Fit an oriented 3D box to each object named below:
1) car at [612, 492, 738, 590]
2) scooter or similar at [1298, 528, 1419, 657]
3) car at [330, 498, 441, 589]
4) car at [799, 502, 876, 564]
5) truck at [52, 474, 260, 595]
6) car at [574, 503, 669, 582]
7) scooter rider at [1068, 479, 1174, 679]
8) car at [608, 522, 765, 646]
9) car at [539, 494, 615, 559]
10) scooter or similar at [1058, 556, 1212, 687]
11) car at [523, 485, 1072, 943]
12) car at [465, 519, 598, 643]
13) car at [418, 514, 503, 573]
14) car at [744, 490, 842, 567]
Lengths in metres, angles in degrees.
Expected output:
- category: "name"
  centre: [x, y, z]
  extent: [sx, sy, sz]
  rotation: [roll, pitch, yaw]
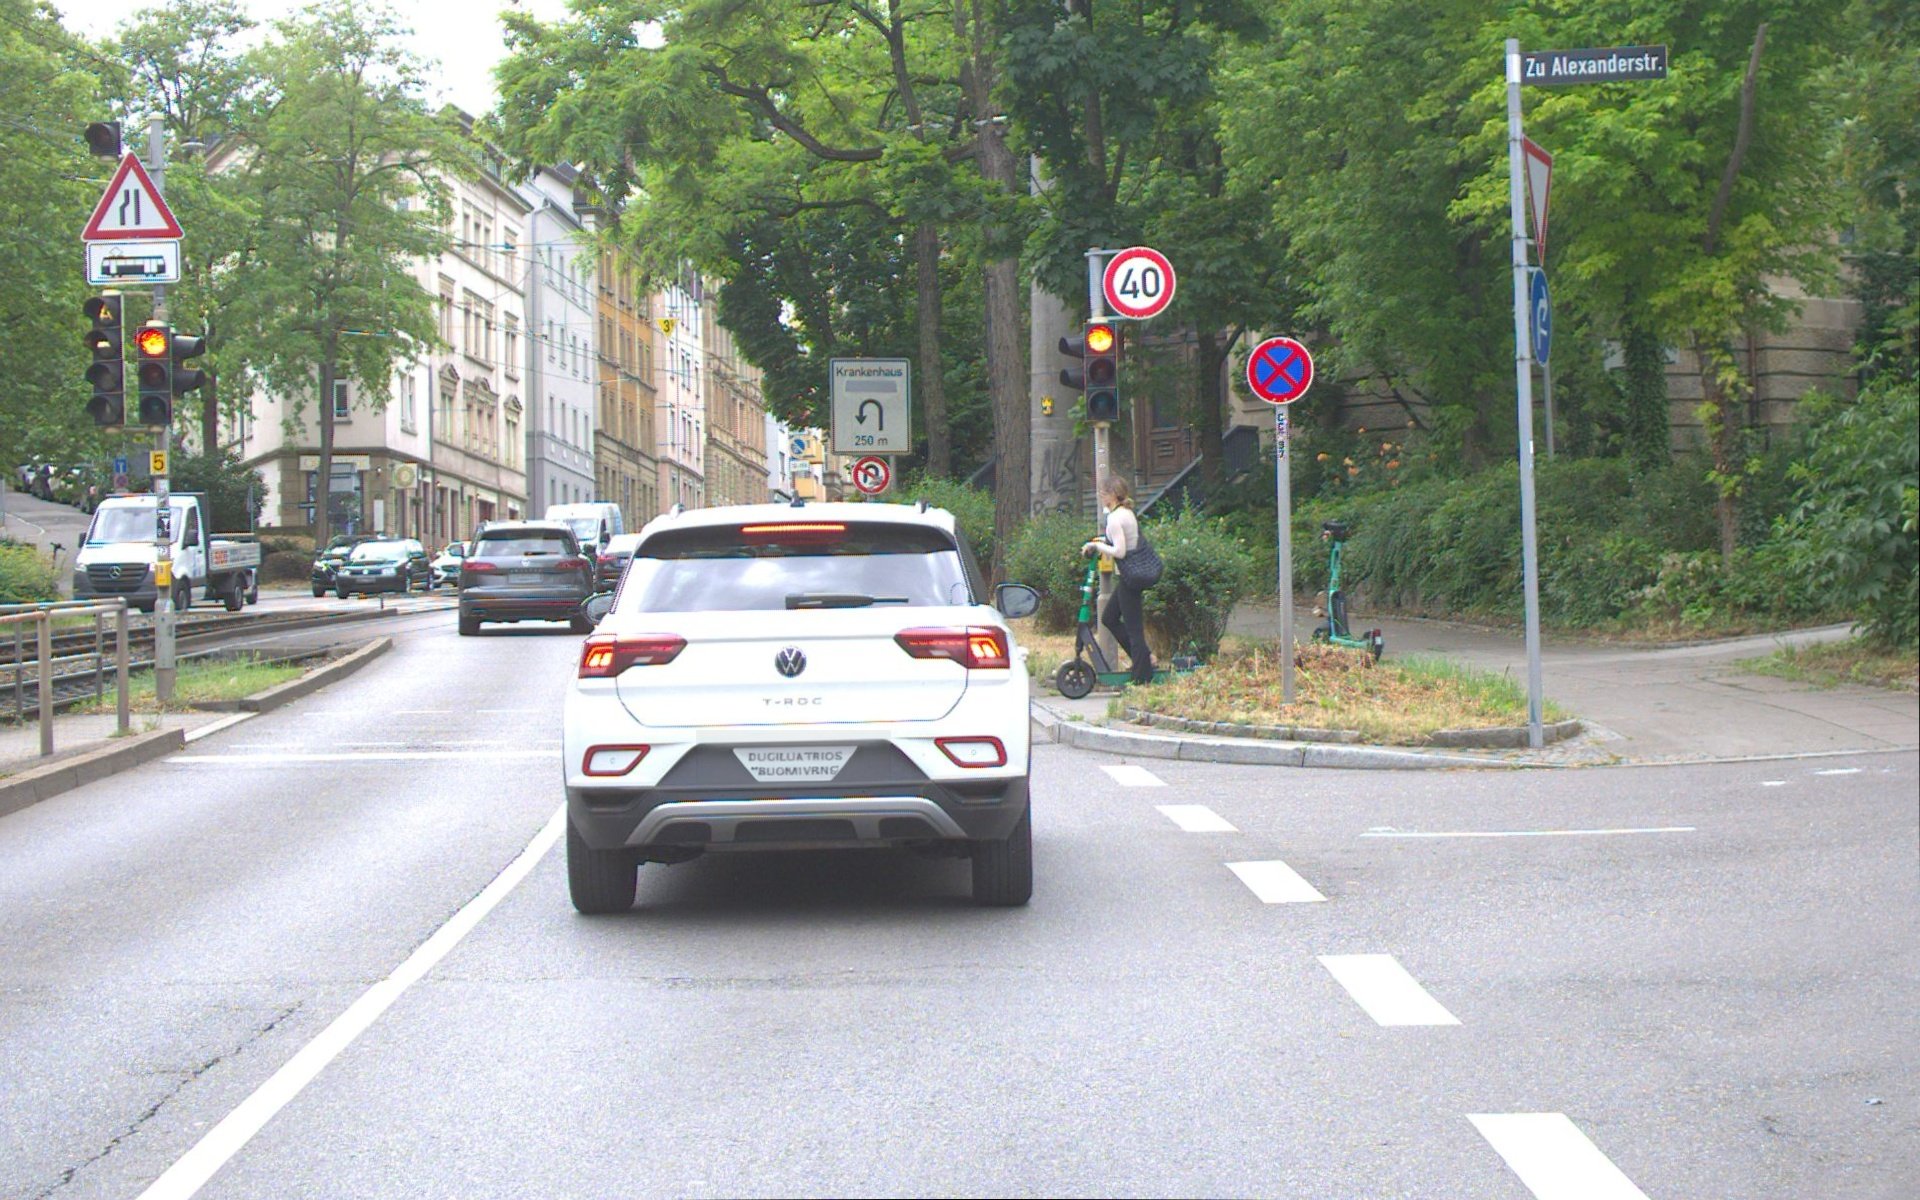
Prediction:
- category: "car"
  centre: [-5.231, -1.059, 63.594]
  extent: [1.993, 1.618, 4.000]
  rotation: [2, -1, -1]
- category: "scooter or similar"
  centre: [3.488, -0.075, 30.160]
  extent: [0.474, 1.096, 1.369]
  rotation: [-2, 1, -19]
- category: "car"
  centre: [-13.902, -1.352, 83.367]
  extent: [1.993, 2.007, 4.000]
  rotation: [2, -1, -1]
- category: "car"
  centre: [-4.497, -2.508, 127.414]
  extent: [2.422, 2.162, 6.033]
  rotation: [-2, 1, 1]
- category: "truck"
  centre: [-15.400, -1.267, 66.205]
  extent: [2.422, 2.162, 6.033]
  rotation: [2, 1, 1]
- category: "car"
  centre: [-7.867, -1.353, 80.144]
  extent: [1.826, 1.751, 3.780]
  rotation: [-2, 1, -1]
- category: "scooter rider"
  centre: [1.278, -0.170, 27.368]
  extent: [0.777, 1.552, 0.532]
  rotation: [-2, 1, 1]
- category: "car"
  centre: [-3.741, -0.186, 47.585]
  extent: [1.902, 1.569, 3.834]
  rotation: [2, -1, -1]
- category: "car"
  centre: [-12.435, -2.391, 111.778]
  extent: [1.993, 2.007, 4.000]
  rotation: [-2, 1, -1]
- category: "scooter or similar"
  centre: [1.391, 0.167, 27.380]
  extent: [1.187, 0.991, 0.531]
  rotation: [-2, 1, 2]
- category: "car"
  centre: [-0.576, 0.339, 14.258]
  extent: [1.938, 1.561, 4.047]
  rotation: [-1, 3, 0]
- category: "car"
  centre: [-6.284, -0.312, 50.731]
  extent: [1.839, 1.734, 4.001]
  rotation: [1, 1, -6]
- category: "car"
  centre: [-15.207, -1.701, 104.776]
  extent: [1.993, 1.618, 4.000]
  rotation: [2, -1, -1]
- category: "car"
  centre: [-4.947, -2.139, 102.666]
  extent: [2.422, 2.162, 6.033]
  rotation: [-2, 1, 1]
